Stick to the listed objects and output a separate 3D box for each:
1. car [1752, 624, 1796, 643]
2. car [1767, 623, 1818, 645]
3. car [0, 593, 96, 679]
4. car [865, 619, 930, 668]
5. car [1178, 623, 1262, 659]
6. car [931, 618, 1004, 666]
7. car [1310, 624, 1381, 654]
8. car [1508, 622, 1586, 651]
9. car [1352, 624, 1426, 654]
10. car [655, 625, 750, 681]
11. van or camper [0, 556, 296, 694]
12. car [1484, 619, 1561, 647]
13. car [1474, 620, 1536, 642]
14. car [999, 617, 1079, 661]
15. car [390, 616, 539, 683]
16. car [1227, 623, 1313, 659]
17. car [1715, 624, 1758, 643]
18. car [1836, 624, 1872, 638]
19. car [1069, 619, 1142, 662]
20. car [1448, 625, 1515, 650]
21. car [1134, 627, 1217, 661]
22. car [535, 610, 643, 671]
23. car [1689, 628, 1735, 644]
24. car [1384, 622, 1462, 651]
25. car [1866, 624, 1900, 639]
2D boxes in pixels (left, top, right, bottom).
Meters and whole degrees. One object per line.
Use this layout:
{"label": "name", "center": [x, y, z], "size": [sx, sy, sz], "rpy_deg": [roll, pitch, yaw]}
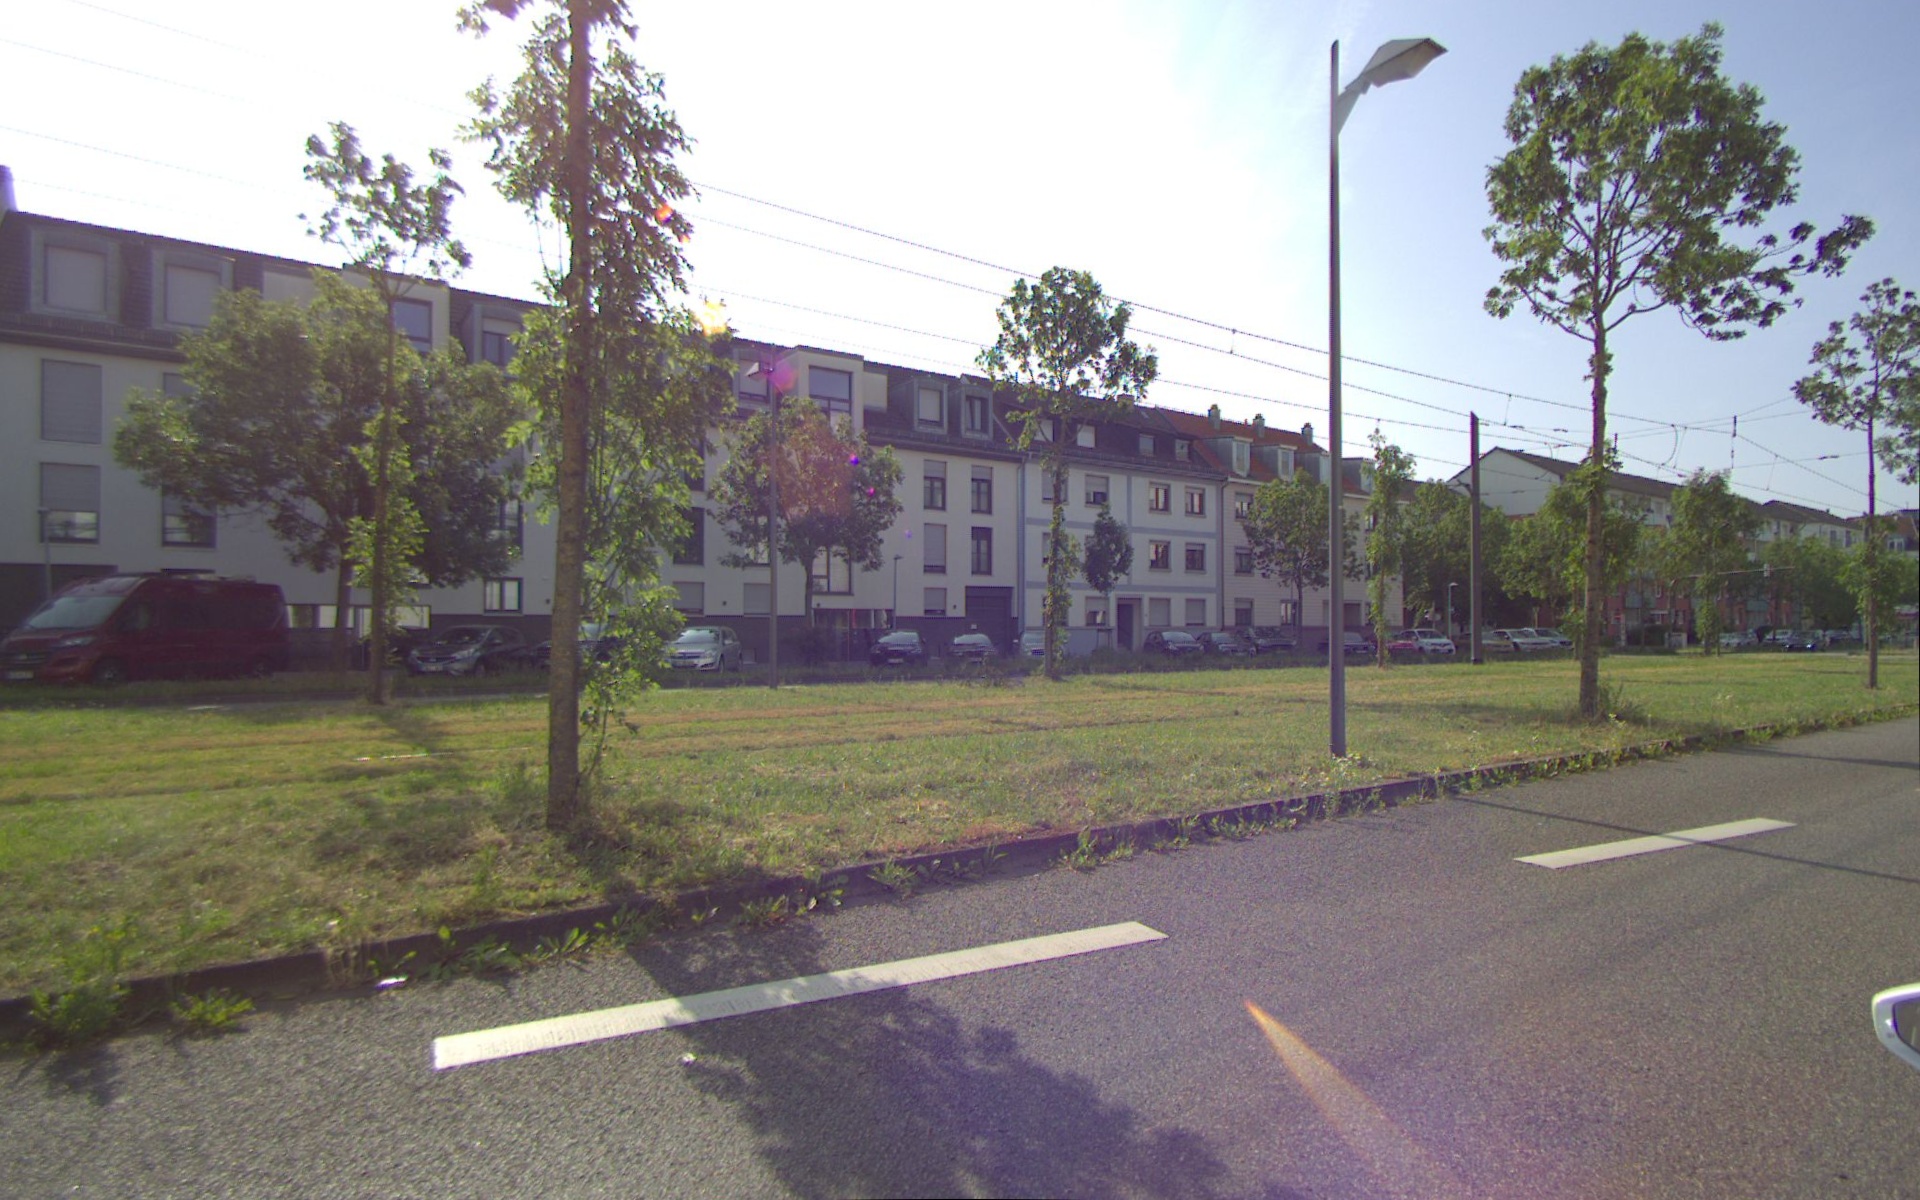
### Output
{"label": "car", "center": [72.645, 2.957, 89.614], "size": [4.494, 1.577, 1.967], "rpy_deg": [1, 0, -36]}
{"label": "car", "center": [66.534, 2.709, 80.249], "size": [4.665, 1.728, 1.981], "rpy_deg": [1, -1, -35]}
{"label": "car", "center": [-20.339, 0.716, 20.366], "size": [1.831, 1.637, 4.155], "rpy_deg": [4, 0, 3]}
{"label": "car", "center": [-2.125, 1.387, 33.223], "size": [1.802, 1.394, 3.994], "rpy_deg": [1, 0, -8]}
{"label": "car", "center": [10.809, 1.677, 42.056], "size": [1.964, 1.305, 3.993], "rpy_deg": [1, 0, -9]}
{"label": "car", "center": [0.192, 1.353, 33.715], "size": [1.892, 1.394, 3.994], "rpy_deg": [1, 0, -8]}
{"label": "car", "center": [18.178, 1.816, 47.541], "size": [1.666, 1.251, 3.999], "rpy_deg": [1, 0, -2]}
{"label": "car", "center": [34.366, 2.095, 58.928], "size": [1.925, 1.483, 4.352], "rpy_deg": [1, 0, -2]}
{"label": "car", "center": [21.037, 1.906, 49.426], "size": [1.839, 1.275, 3.999], "rpy_deg": [1, 0, -2]}
{"label": "car", "center": [-7.203, 1.447, 28.541], "size": [1.700, 1.338, 4.398], "rpy_deg": [1, 0, -2]}
{"label": "van or camper", "center": [-17.831, 0.517, 21.985], "size": [2.366, 2.580, 6.163], "rpy_deg": [1, -1, 1]}
{"label": "car", "center": [31.602, 1.857, 56.598], "size": [1.960, 1.534, 4.466], "rpy_deg": [0, -1, 1]}
{"label": "car", "center": [43.821, 2.500, 80.849], "size": [1.979, 1.717, 3.963], "rpy_deg": [1, -2, -34]}
{"label": "car", "center": [2.796, 1.379, 36.596], "size": [1.964, 1.394, 4.333], "rpy_deg": [1, 0, -9]}
{"label": "car", "center": [-12.354, 1.185, 25.358], "size": [1.746, 1.439, 4.000], "rpy_deg": [1, 0, 0]}
{"label": "car", "center": [13.193, 1.727, 43.001], "size": [1.963, 1.305, 4.054], "rpy_deg": [1, 0, -8]}
{"label": "car", "center": [64.710, 2.755, 83.665], "size": [3.790, 1.490, 1.820], "rpy_deg": [1, 0, -36]}
{"label": "car", "center": [92.471, 3.191, 103.904], "size": [4.030, 1.378, 1.967], "rpy_deg": [1, 0, -36]}
{"label": "car", "center": [5.311, 1.445, 37.087], "size": [1.634, 1.394, 3.774], "rpy_deg": [1, 0, -9]}
{"label": "car", "center": [28.869, 2.057, 55.714], "size": [1.959, 1.194, 4.002], "rpy_deg": [2, 0, 6]}
{"label": "car", "center": [8.595, 1.731, 40.493], "size": [1.964, 1.305, 3.994], "rpy_deg": [0, -1, -9]}
{"label": "car", "center": [-9.876, 1.034, 27.030], "size": [1.610, 1.453, 3.720], "rpy_deg": [1, 0, -2]}
{"label": "car", "center": [60.063, 2.872, 80.185], "size": [4.125, 1.163, 1.820], "rpy_deg": [1, 0, -36]}
{"label": "car", "center": [23.518, 1.847, 51.191], "size": [1.851, 1.286, 3.997], "rpy_deg": [1, 0, -5]}
{"label": "car", "center": [101.121, 3.412, 110.025], "size": [4.240, 1.533, 1.967], "rpy_deg": [1, 0, -36]}
